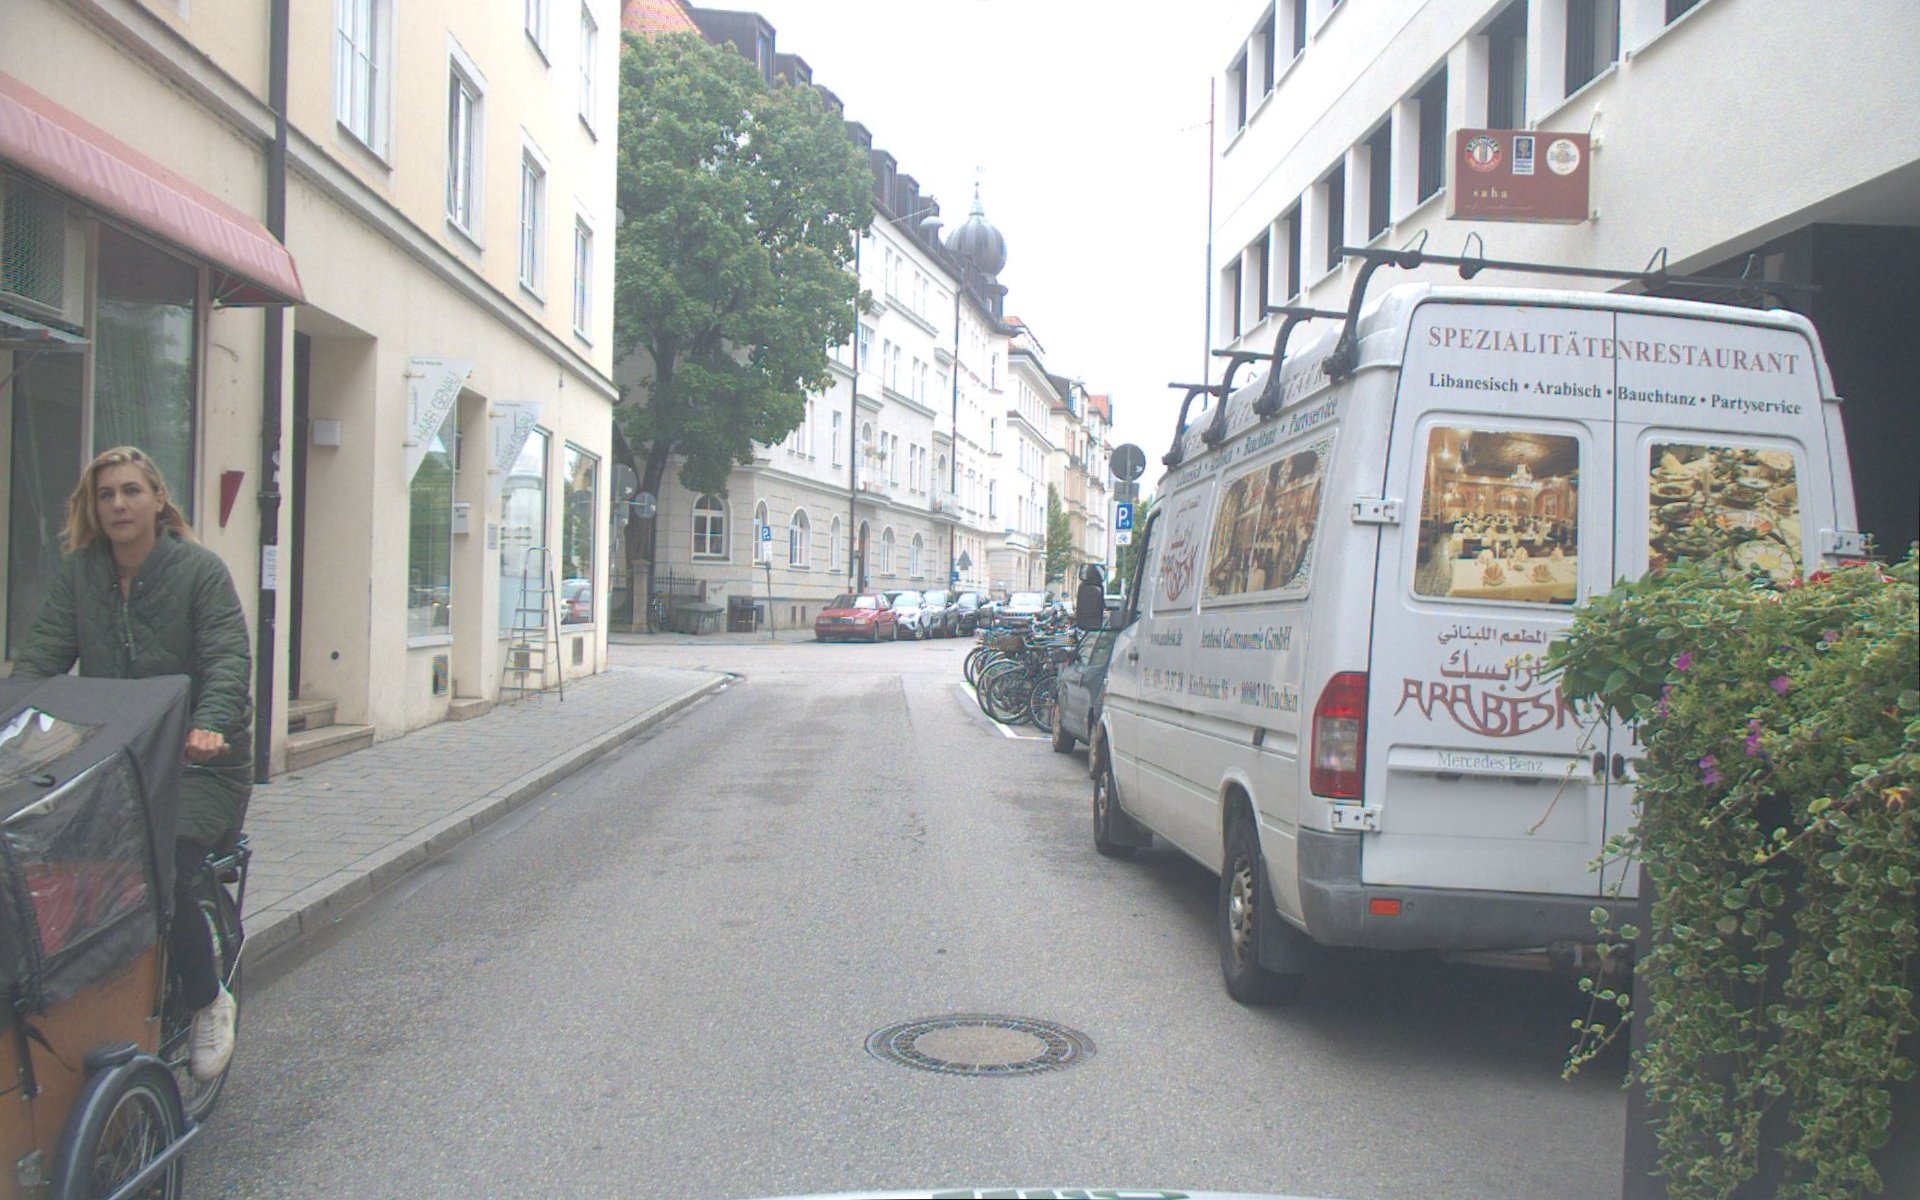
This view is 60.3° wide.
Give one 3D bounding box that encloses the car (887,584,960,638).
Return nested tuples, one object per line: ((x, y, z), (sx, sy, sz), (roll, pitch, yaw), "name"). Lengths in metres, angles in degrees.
((-1.228, 0.364, 57.426), (1.901, 1.732, 4.003), (2, 0, 7), "car")

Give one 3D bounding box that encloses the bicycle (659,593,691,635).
((-7.953, 0.384, 46.248), (0.483, 1.071, 1.828), (1, 2, 3), "bicycle")

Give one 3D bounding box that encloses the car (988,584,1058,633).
((2.282, 0.283, 58.942), (1.915, 1.636, 4.312), (1, 0, 10), "car")

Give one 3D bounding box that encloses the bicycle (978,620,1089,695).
((1.120, 0.879, 25.168), (1.642, 1.098, 0.336), (1, 1, -6), "bicycle")

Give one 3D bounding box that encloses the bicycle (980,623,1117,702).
((1.235, 0.871, 23.210), (1.837, 1.070, 0.563), (1, -1, -6), "bicycle")

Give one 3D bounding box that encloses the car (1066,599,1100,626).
((7.606, 0.750, 101.780), (1.781, 1.601, 4.003), (1, 0, 8), "car")

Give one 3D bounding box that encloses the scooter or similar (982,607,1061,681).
((1.058, 0.757, 28.623), (1.325, 1.231, 0.417), (1, 0, -1), "scooter or similar")

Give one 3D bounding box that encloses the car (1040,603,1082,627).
((5.553, 0.821, 90.373), (1.866, 1.243, 4.003), (1, 0, 10), "car")

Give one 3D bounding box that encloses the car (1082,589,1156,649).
((4.942, 0.578, 51.049), (1.781, 1.664, 4.292), (3, 0, 11), "car")

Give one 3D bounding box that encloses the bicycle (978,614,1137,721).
((1.164, 0.806, 19.916), (1.837, 1.225, 0.488), (1, 1, -5), "bicycle")

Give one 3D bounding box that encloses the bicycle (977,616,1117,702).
((1.172, 0.801, 22.504), (1.837, 1.114, 0.439), (1, 1, -6), "bicycle")

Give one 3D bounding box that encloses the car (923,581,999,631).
((0.095, 0.228, 62.245), (1.951, 1.769, 4.525), (2, 0, 12), "car")

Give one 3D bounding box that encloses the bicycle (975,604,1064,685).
((0.995, 0.740, 27.822), (1.427, 1.308, 0.445), (2, 0, -2), "bicycle")

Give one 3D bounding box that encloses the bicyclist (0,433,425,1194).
((-2.033, 0.488, 4.363), (0.908, 1.751, 1.099), (0, 0, -2), "bicyclist")

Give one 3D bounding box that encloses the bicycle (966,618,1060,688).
((0.855, 0.856, 26.805), (1.424, 1.088, 0.462), (2, 0, -11), "bicycle")

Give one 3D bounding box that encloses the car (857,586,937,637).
((-1.944, 0.357, 52.426), (1.951, 1.499, 4.221), (1, 0, 6), "car")

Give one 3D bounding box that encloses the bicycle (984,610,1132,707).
((1.253, 0.741, 21.336), (1.837, 1.225, 0.579), (0, 0, -5), "bicycle")

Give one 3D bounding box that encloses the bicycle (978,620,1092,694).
((1.157, 0.880, 25.584), (1.706, 1.098, 0.451), (1, 1, -6), "bicycle")

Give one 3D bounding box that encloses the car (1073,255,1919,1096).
((1.918, 0.226, 8.141), (1.882, 2.549, 5.993), (2, 0, -3), "car")

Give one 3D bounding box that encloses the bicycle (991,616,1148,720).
((1.351, 0.847, 20.609), (1.837, 1.177, 0.564), (3, 1, -5), "bicycle")

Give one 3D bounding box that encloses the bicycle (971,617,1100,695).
((1.110, 0.819, 24.342), (1.837, 1.098, 0.408), (1, 1, -6), "bicycle")

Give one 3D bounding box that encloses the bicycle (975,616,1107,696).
((1.166, 0.811, 23.906), (1.837, 1.098, 0.402), (1, 1, -6), "bicycle")

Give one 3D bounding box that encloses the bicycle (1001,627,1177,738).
((1.425, 0.915, 18.403), (1.837, 1.098, 0.488), (3, 1, -5), "bicycle")

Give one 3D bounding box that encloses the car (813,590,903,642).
((-2.905, 0.439, 47.839), (1.693, 1.402, 4.230), (1, 0, 9), "car")

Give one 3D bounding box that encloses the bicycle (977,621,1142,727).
((1.159, 0.863, 19.396), (1.837, 1.127, 0.488), (3, 1, -5), "bicycle")

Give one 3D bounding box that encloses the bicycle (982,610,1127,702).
((1.243, 0.743, 21.965), (1.856, 1.190, 0.565), (1, 0, -6), "bicycle")

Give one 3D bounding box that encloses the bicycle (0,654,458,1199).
((-2.015, 0.806, 4.035), (0.913, 1.279, 2.413), (0, 0, -2), "bicycle")

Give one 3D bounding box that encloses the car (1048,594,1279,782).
((1.752, 0.708, 15.203), (1.548, 1.489, 3.550), (1, 0, -2), "car")
